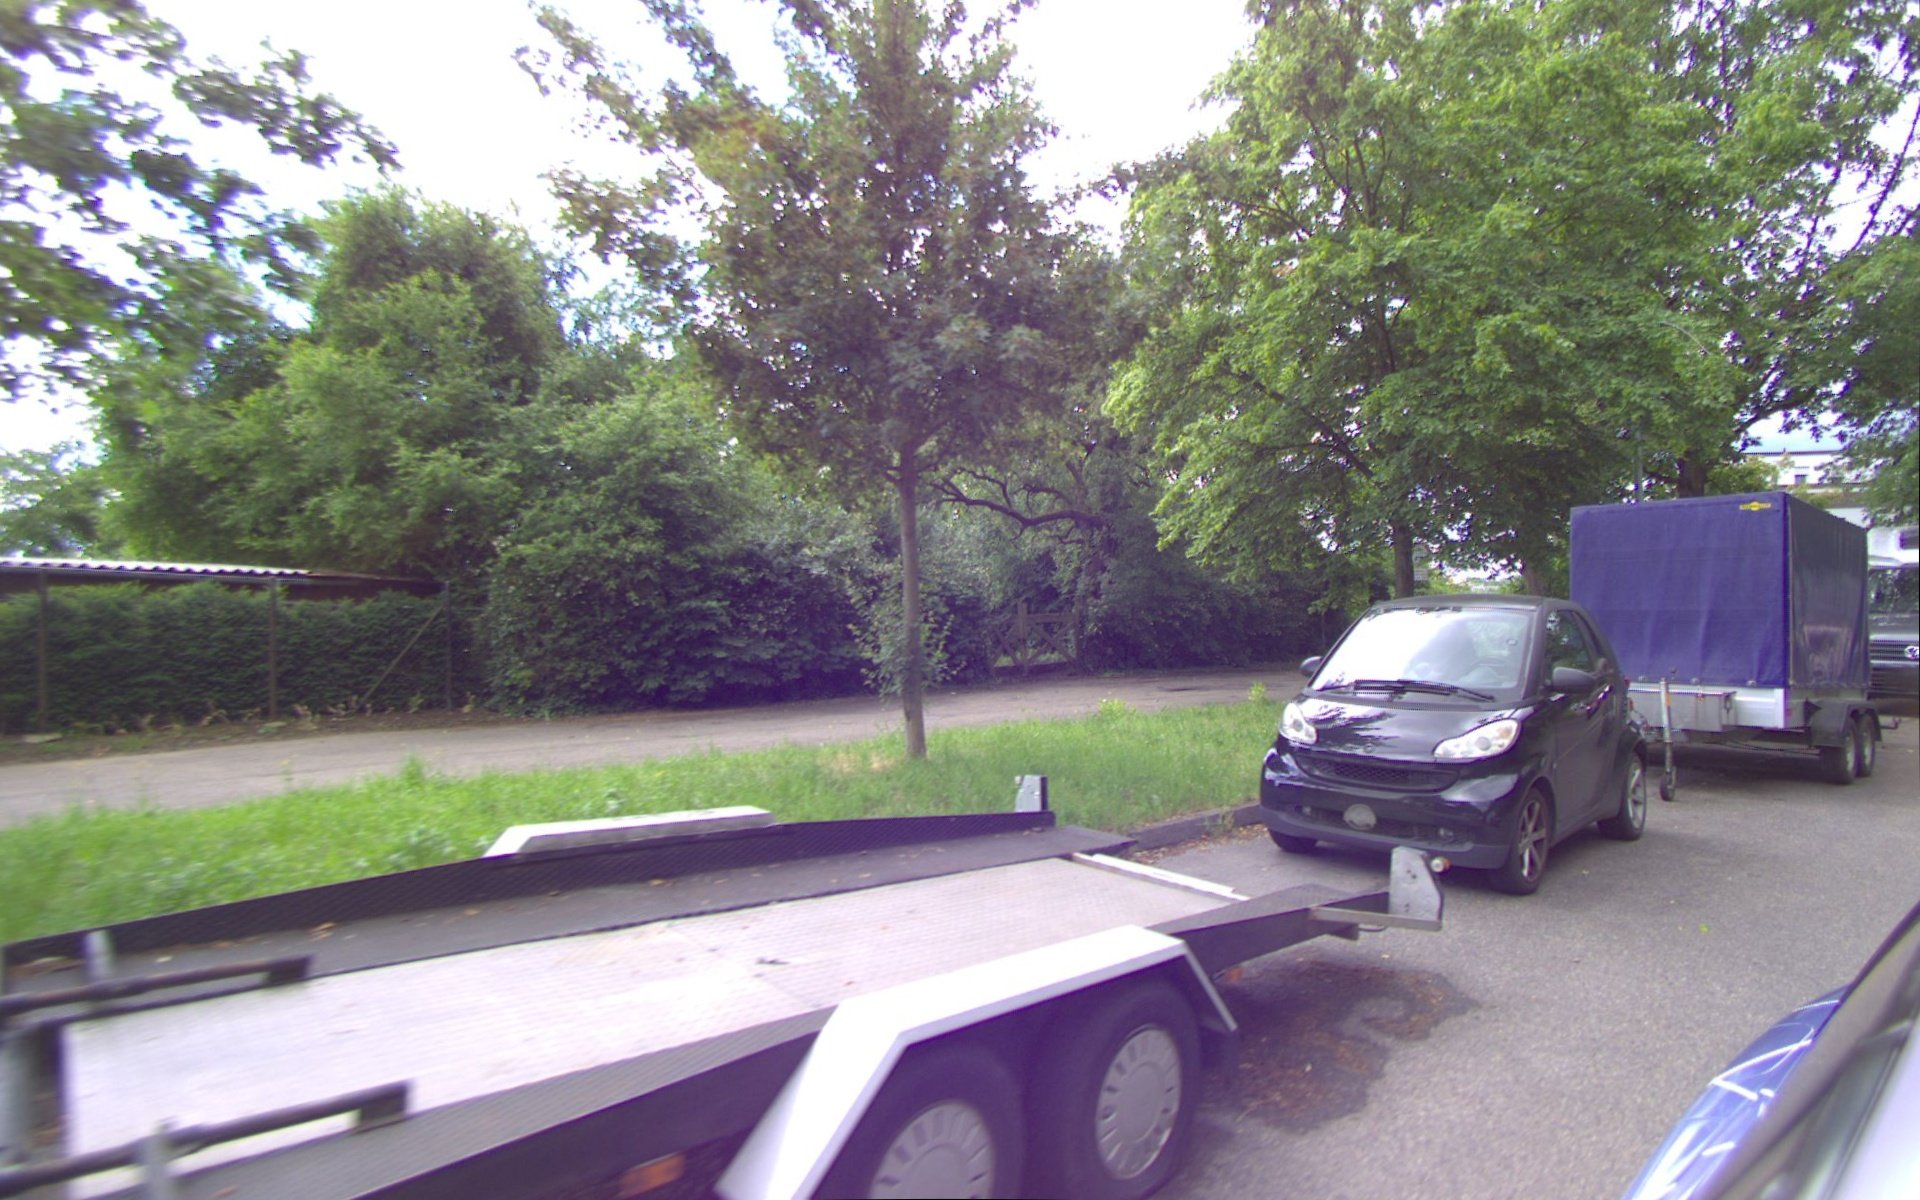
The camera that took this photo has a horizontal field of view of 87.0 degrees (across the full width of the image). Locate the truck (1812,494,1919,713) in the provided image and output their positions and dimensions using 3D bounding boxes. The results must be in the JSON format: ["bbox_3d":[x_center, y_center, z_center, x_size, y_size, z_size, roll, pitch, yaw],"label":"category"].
[{"bbox_3d":[15.889,0.042,15.628,6.897,2.970,2.312,0,0,-33],"label":"truck"}]

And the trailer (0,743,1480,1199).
[{"bbox_3d":[-1.002,1.087,2.517,6.293,0.659,2.106,0,-1,-43],"label":"trailer"}]

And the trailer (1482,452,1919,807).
[{"bbox_3d":[6.818,0.249,9.102,4.616,2.392,2.111,3,-1,-40],"label":"trailer"}]

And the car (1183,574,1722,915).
[{"bbox_3d":[3.208,0.660,6.421,3.343,1.541,1.733,-2,0,-38],"label":"car"}]
